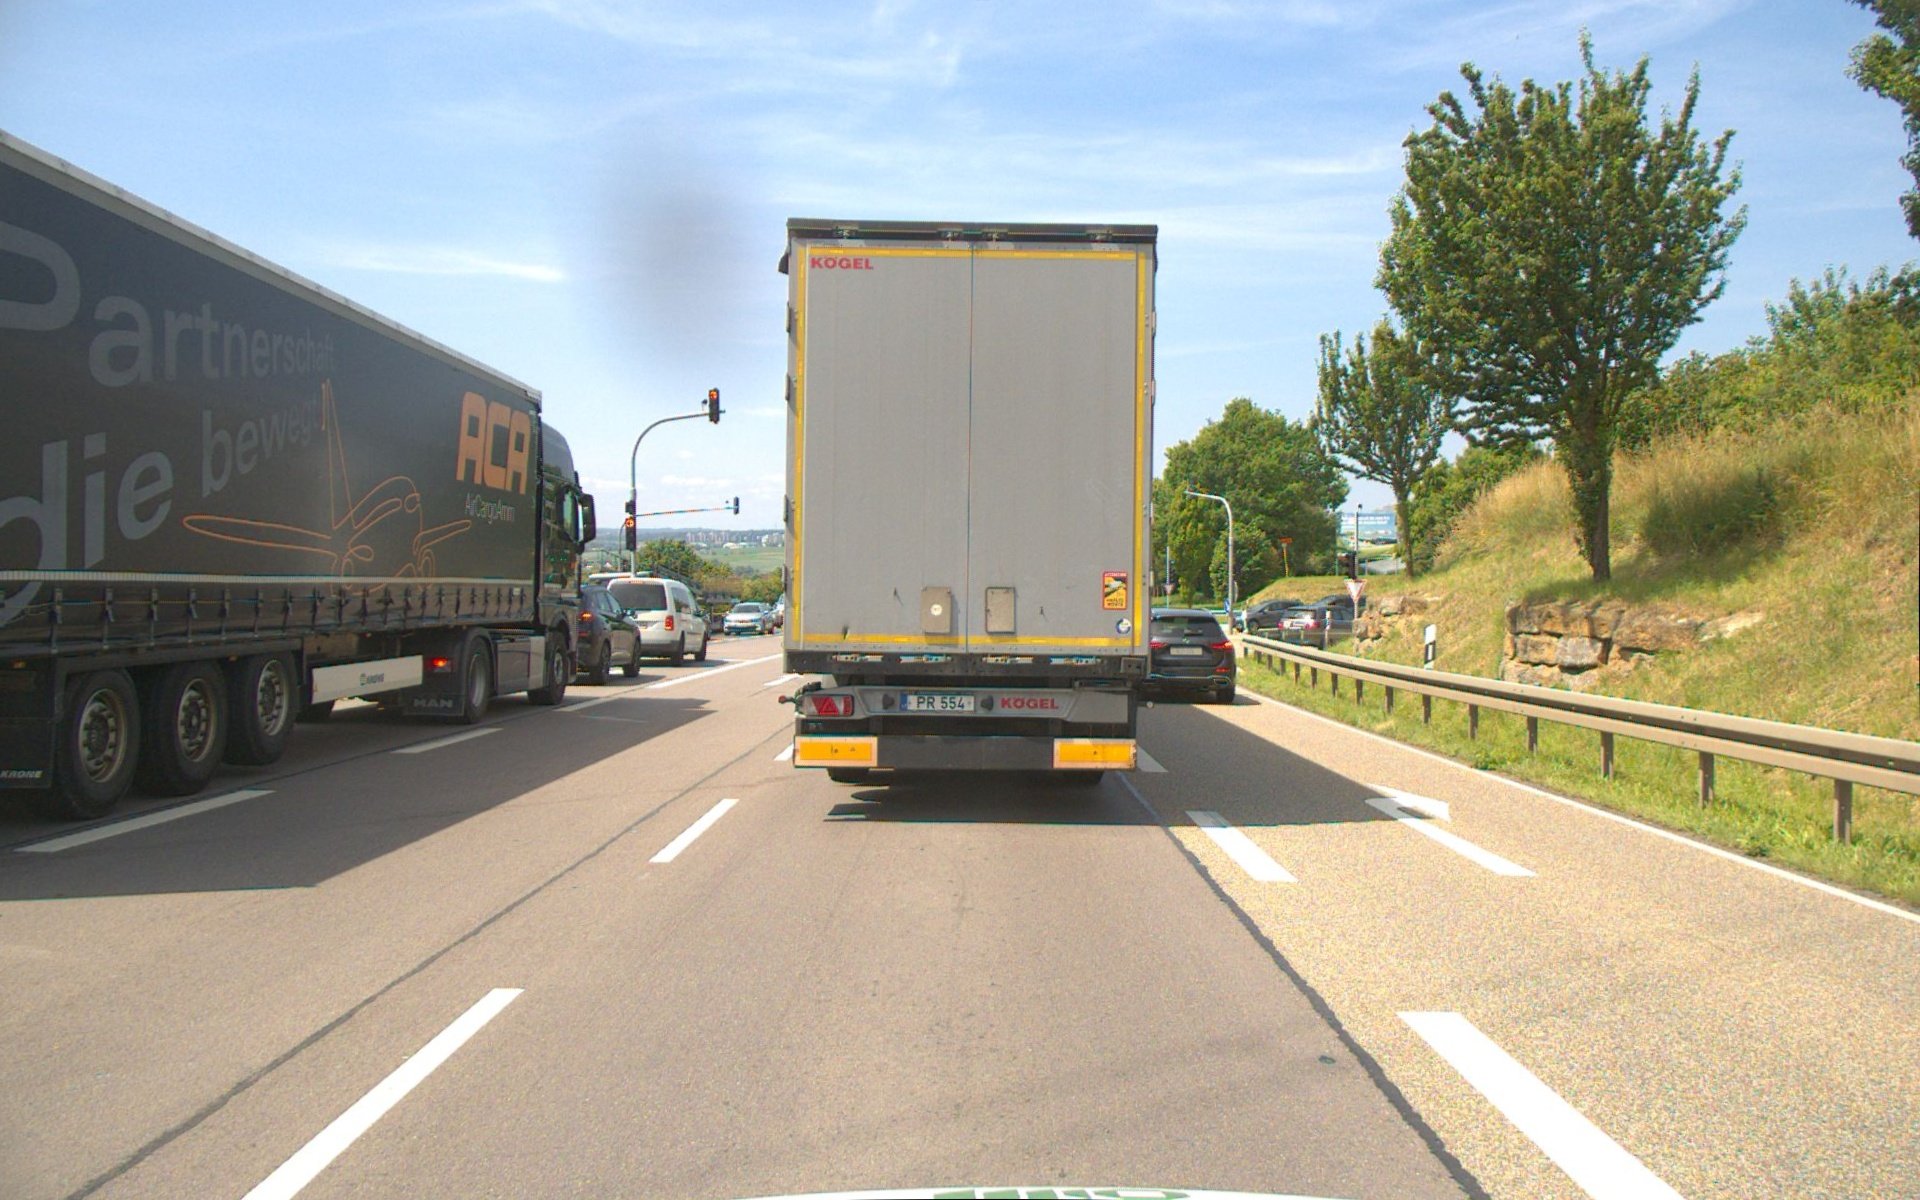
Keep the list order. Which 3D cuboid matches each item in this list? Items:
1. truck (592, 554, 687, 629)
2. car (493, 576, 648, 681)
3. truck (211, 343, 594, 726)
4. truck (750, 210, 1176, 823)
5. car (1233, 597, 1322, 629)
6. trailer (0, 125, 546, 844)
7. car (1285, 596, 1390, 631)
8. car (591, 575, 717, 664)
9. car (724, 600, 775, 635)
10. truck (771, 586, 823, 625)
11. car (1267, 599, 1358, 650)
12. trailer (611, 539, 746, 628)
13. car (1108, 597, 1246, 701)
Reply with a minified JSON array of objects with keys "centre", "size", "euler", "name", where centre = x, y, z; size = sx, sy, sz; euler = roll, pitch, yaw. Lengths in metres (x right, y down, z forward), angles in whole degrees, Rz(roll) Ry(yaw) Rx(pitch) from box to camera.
[{"centre":[-13.689,-0.332,71.055],"size":[2.741,3.066,5.990],"euler":[0,-1,1],"name":"truck"},{"centre":[-6.779,0.459,29.232],"size":[1.818,1.686,4.346],"euler":[1,0,-2],"name":"car"},{"centre":[-6.671,-0.700,20.822],"size":[2.726,4.083,5.970],"euler":[1,0,0],"name":"truck"},{"centre":[-0.023,-0.520,16.588],"size":[2.742,3.998,11.339],"euler":[1,0,-1],"name":"truck"},{"centre":[15.359,0.613,80.013],"size":[3.912,1.537,1.713],"euler":[0,-1,-8],"name":"car"},{"centre":[-6.684,-0.641,14.230],"size":[2.726,3.982,13.786],"euler":[1,0,0],"name":"trailer"},{"centre":[16.881,0.613,73.979],"size":[4.279,1.537,1.712],"euler":[0,-1,-11],"name":"car"},{"centre":[-6.755,0.411,37.051],"size":[1.731,1.830,4.753],"euler":[1,0,2],"name":"car"},{"centre":[-9.673,0.789,76.280],"size":[1.700,1.555,4.001],"euler":[1,-1,2],"name":"car"},{"centre":[-9.343,0.316,95.297],"size":[1.924,2.195,4.627],"euler":[-1,-1,8],"name":"truck"},{"centre":[12.238,0.850,57.332],"size":[1.765,1.669,3.988],"euler":[1,-1,33],"name":"car"},{"centre":[-13.365,-0.613,80.806],"size":[2.584,3.829,19.802],"euler":[0,-1,2],"name":"trailer"},{"centre":[3.515,0.770,27.486],"size":[1.710,1.559,4.298],"euler":[1,-1,0],"name":"car"}]
